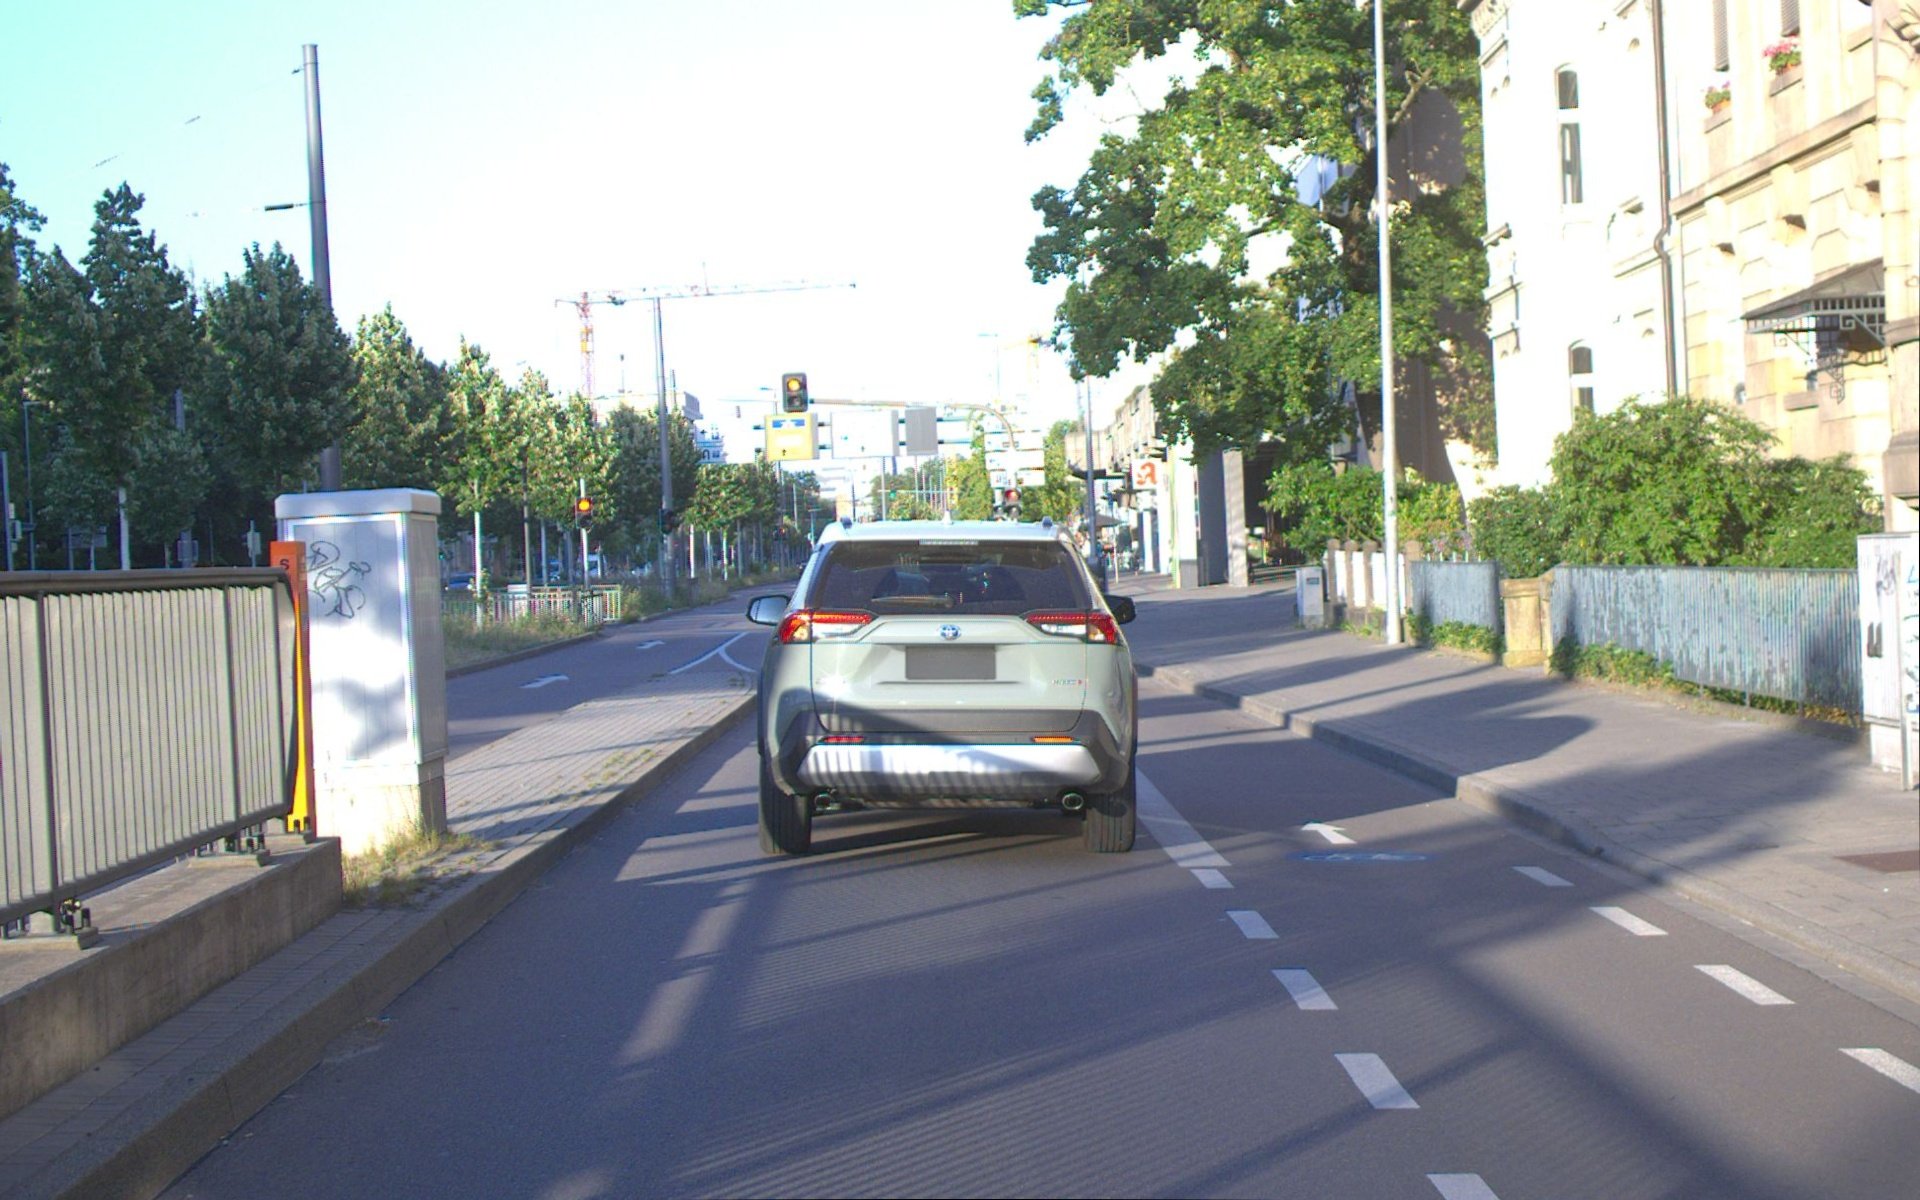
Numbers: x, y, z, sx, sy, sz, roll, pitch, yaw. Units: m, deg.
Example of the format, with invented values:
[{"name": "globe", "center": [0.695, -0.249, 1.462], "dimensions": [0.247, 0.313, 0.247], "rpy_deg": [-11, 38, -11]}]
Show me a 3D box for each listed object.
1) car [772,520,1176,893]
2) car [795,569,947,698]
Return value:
[{"name": "car", "center": [-0.001, 0.461, 17.953], "dimensions": [1.857, 1.708, 4.193], "rpy_deg": [0, 1, -2]}, {"name": "car", "center": [-1.157, 0.388, 44.145], "dimensions": [1.857, 1.546, 4.110], "rpy_deg": [0, 1, -2]}]
